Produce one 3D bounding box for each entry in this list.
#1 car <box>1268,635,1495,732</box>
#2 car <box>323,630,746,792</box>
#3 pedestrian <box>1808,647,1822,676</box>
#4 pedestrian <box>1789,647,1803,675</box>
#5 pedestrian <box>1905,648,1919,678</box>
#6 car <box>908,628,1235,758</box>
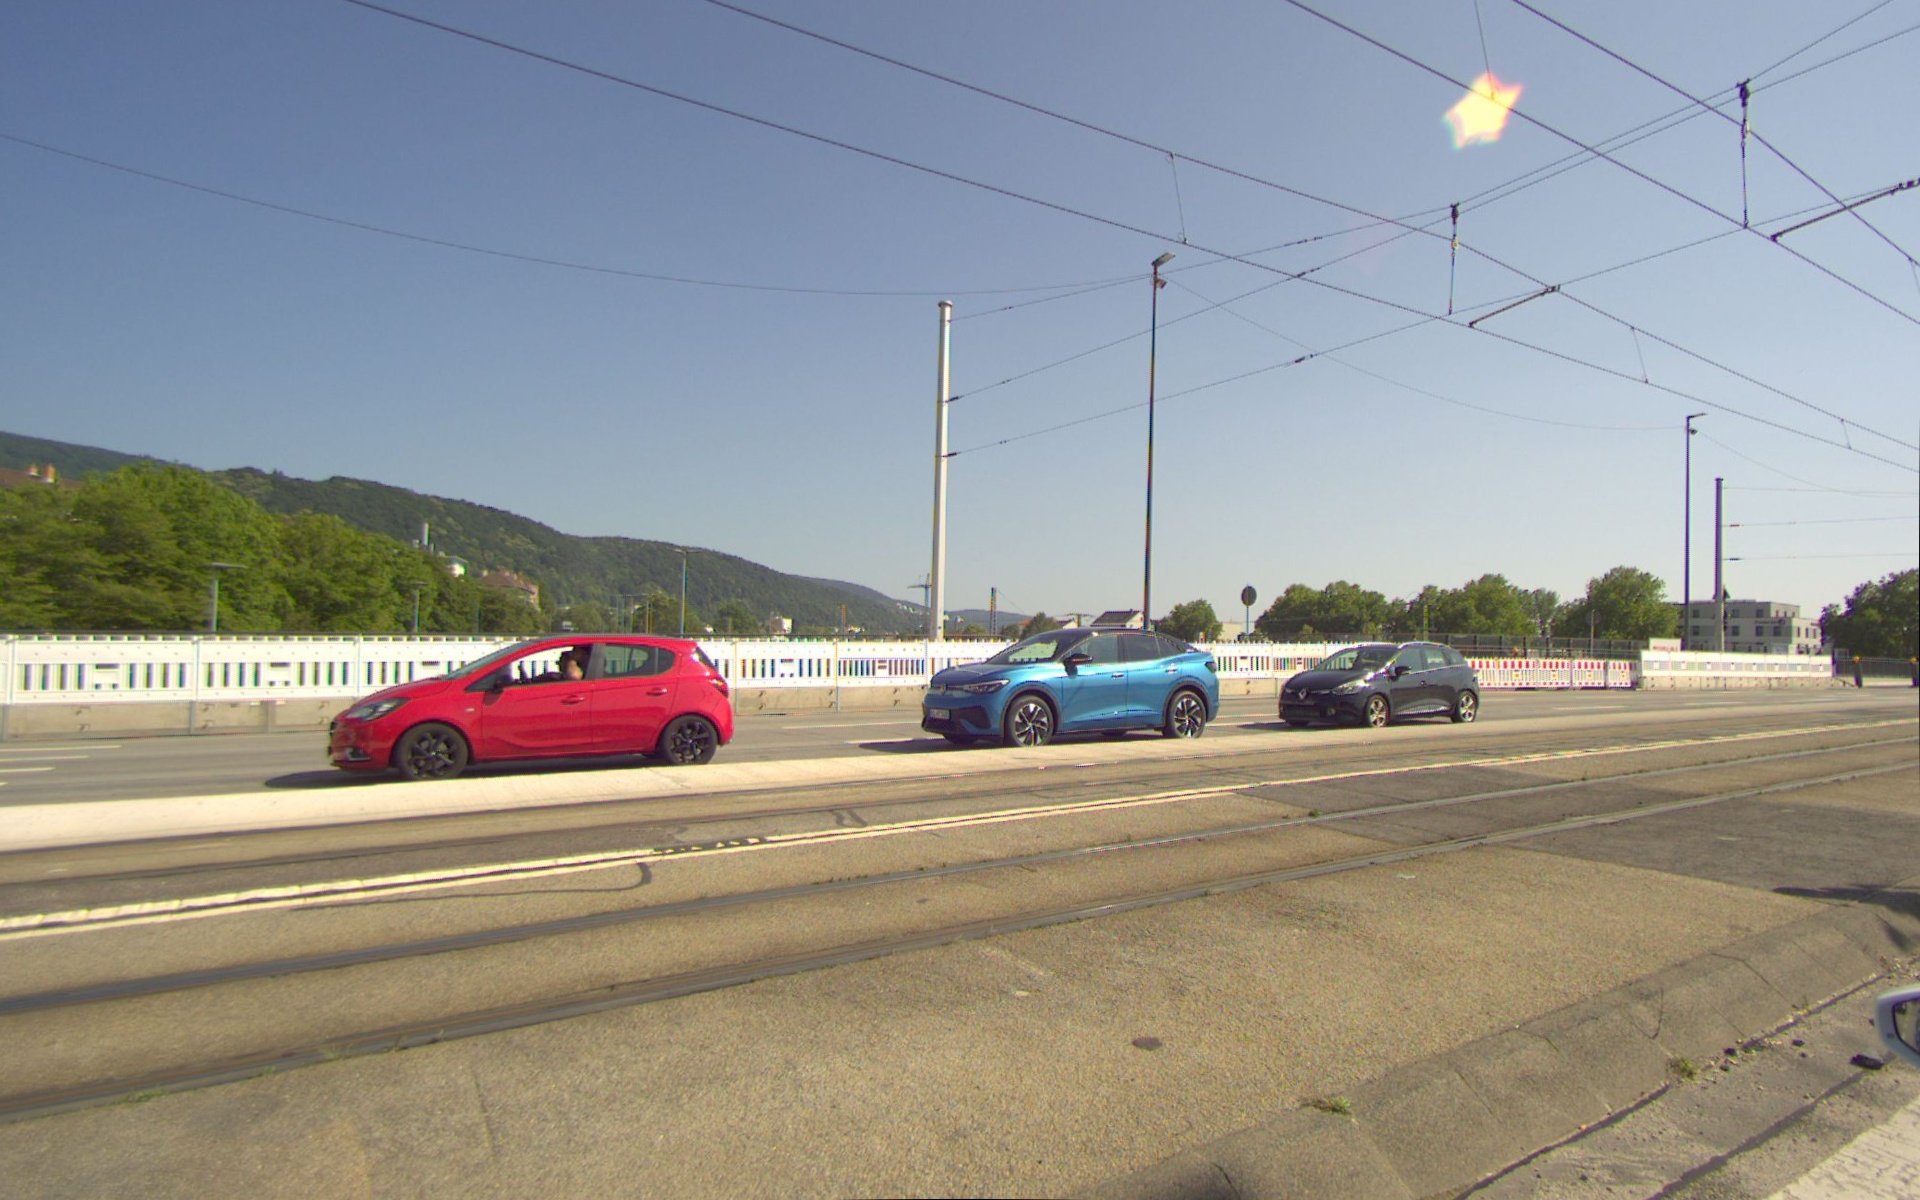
[{"bbox_3d":[7.408,1.412,17.546,4.129,1.520,1.498,2,-4,-31],"label":"car"},{"bbox_3d":[-4.448,1.087,10.766,3.935,1.456,1.526,2,-3,-31],"label":"car"},{"bbox_3d":[51.942,3.749,61.023,0.468,1.716,0.493,3,-1,-31],"label":"pedestrian"},{"bbox_3d":[51.564,3.742,61.941,0.468,1.716,0.493,3,-1,-31],"label":"pedestrian"},{"bbox_3d":[61.883,4.110,65.213,0.743,1.918,0.631,2,-1,-31],"label":"pedestrian"},{"bbox_3d":[1.632,1.222,14.072,4.504,1.570,1.661,2,-3,-31],"label":"car"}]
